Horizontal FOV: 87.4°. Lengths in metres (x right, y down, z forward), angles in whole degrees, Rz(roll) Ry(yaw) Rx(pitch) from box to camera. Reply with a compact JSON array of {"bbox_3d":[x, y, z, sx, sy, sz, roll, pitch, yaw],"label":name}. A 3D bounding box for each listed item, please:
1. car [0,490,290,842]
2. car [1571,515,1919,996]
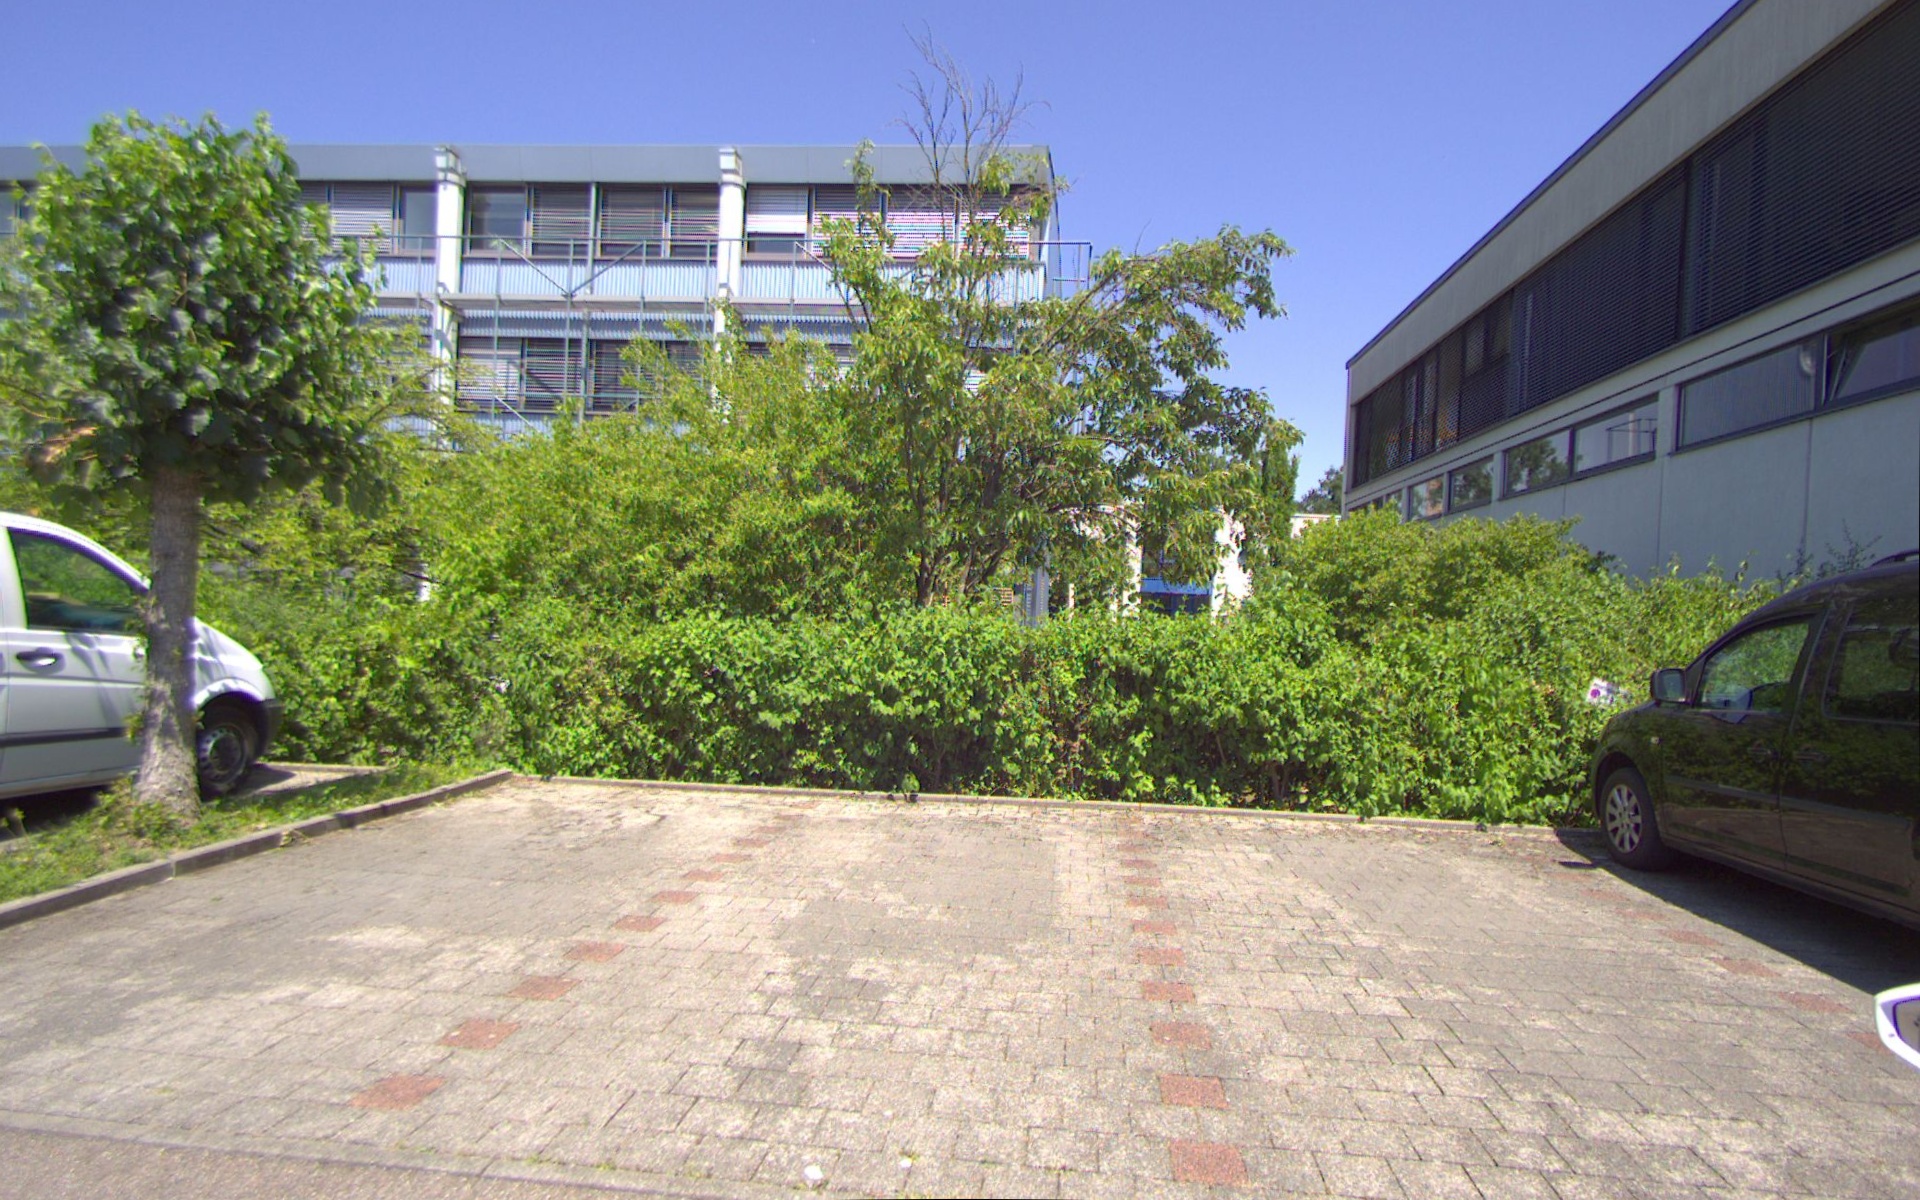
[{"bbox_3d":[-6.185,0.338,5.287,1.792,1.931,4.738,2,0,5],"label":"car"},{"bbox_3d":[4.744,0.642,4.714,1.645,1.909,4.074,2,0,7],"label":"car"}]
